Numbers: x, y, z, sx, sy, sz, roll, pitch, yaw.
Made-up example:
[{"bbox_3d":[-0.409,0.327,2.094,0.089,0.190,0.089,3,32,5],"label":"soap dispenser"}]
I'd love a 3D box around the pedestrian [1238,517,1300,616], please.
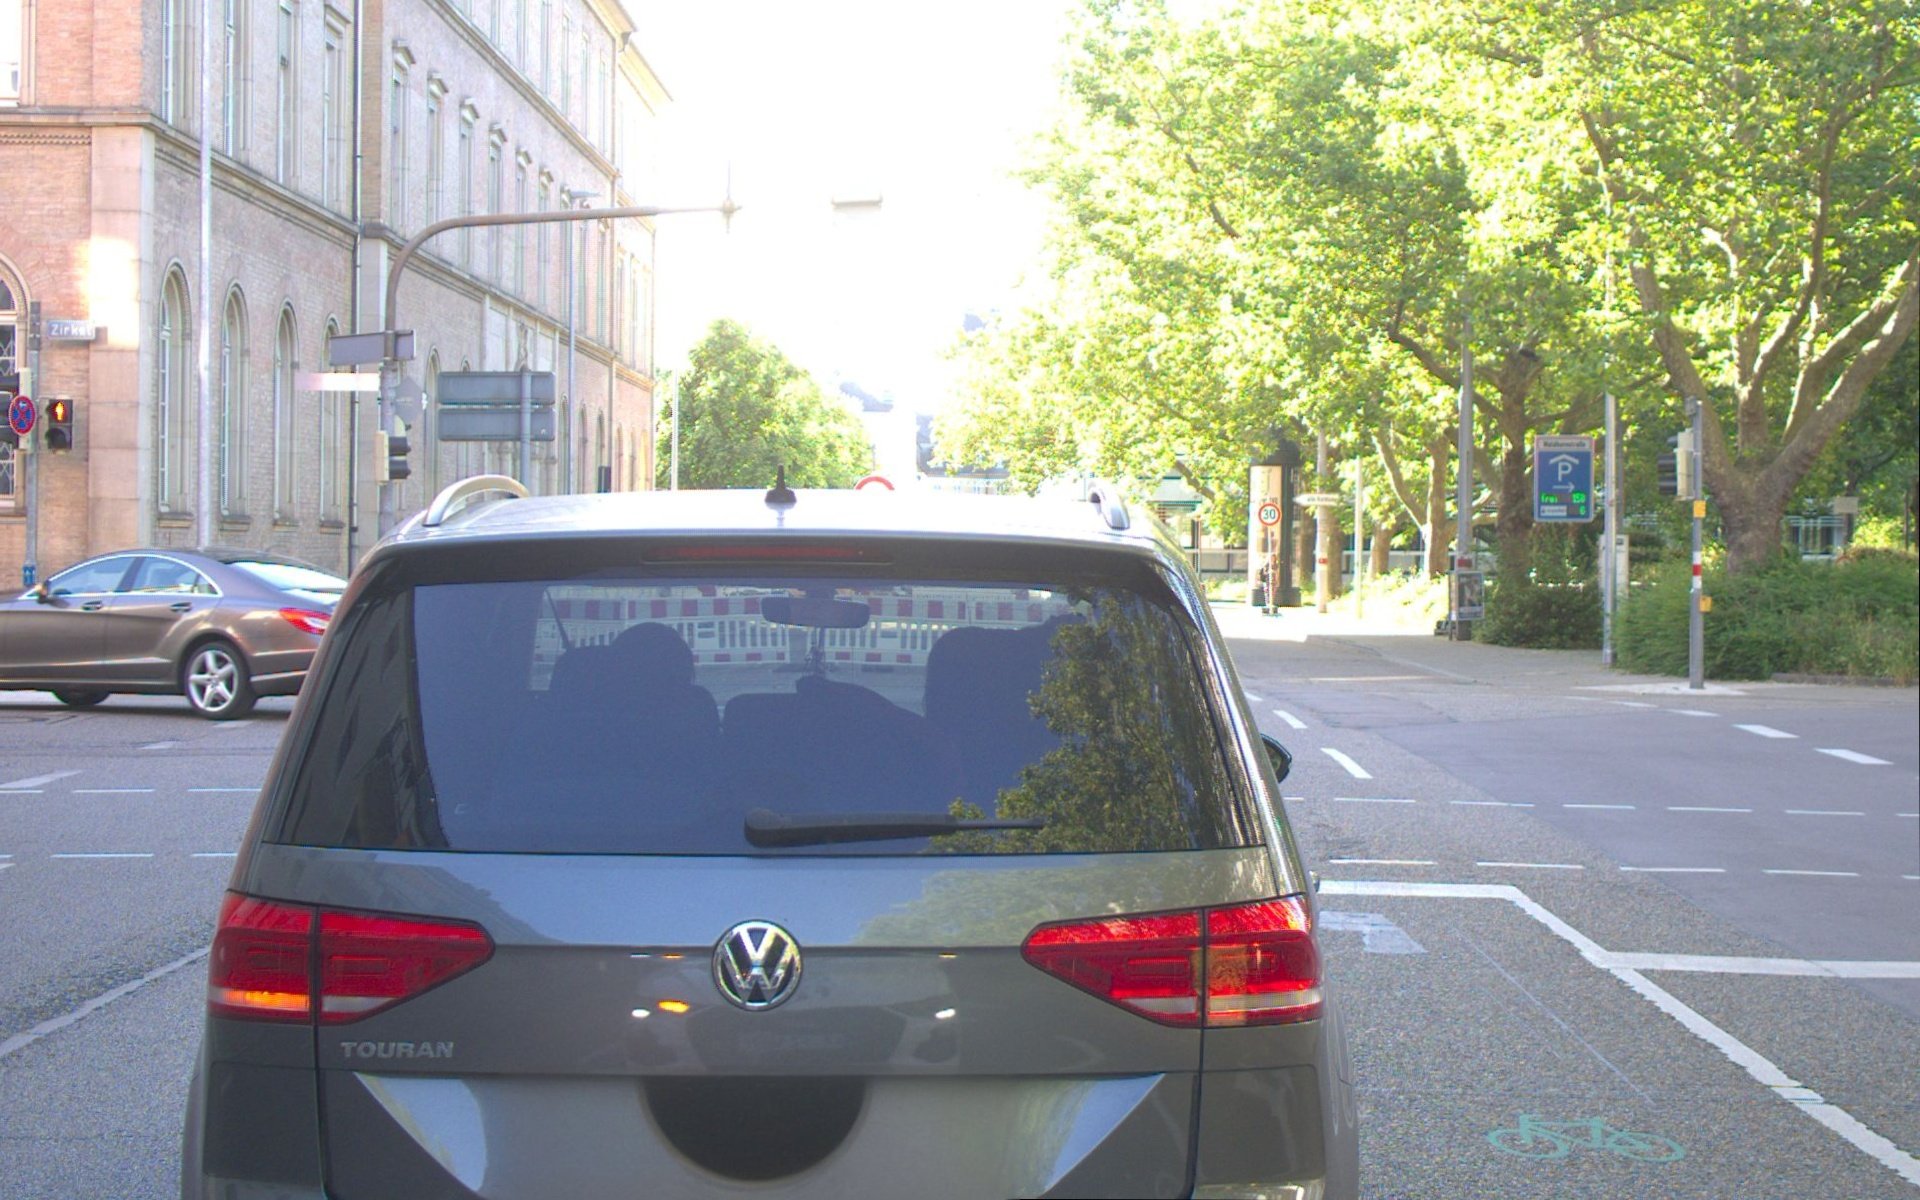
[{"bbox_3d":[8.358,-0.911,93.085,1.419,2.658,1.148,1,0,-8],"label":"pedestrian"}]

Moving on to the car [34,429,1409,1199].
[{"bbox_3d":[-0.301,0.552,6.434,1.762,1.601,4.000,1,1,0],"label":"car"}]

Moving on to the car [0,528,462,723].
[{"bbox_3d":[-6.688,0.171,29.467,4.500,1.524,1.926,1,1,27],"label":"car"}]

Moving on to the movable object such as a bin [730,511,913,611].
[{"bbox_3d":[-3.949,-1.111,97.407,4.838,2.767,2.467,1,1,43],"label":"movable object such as a bin"}]
